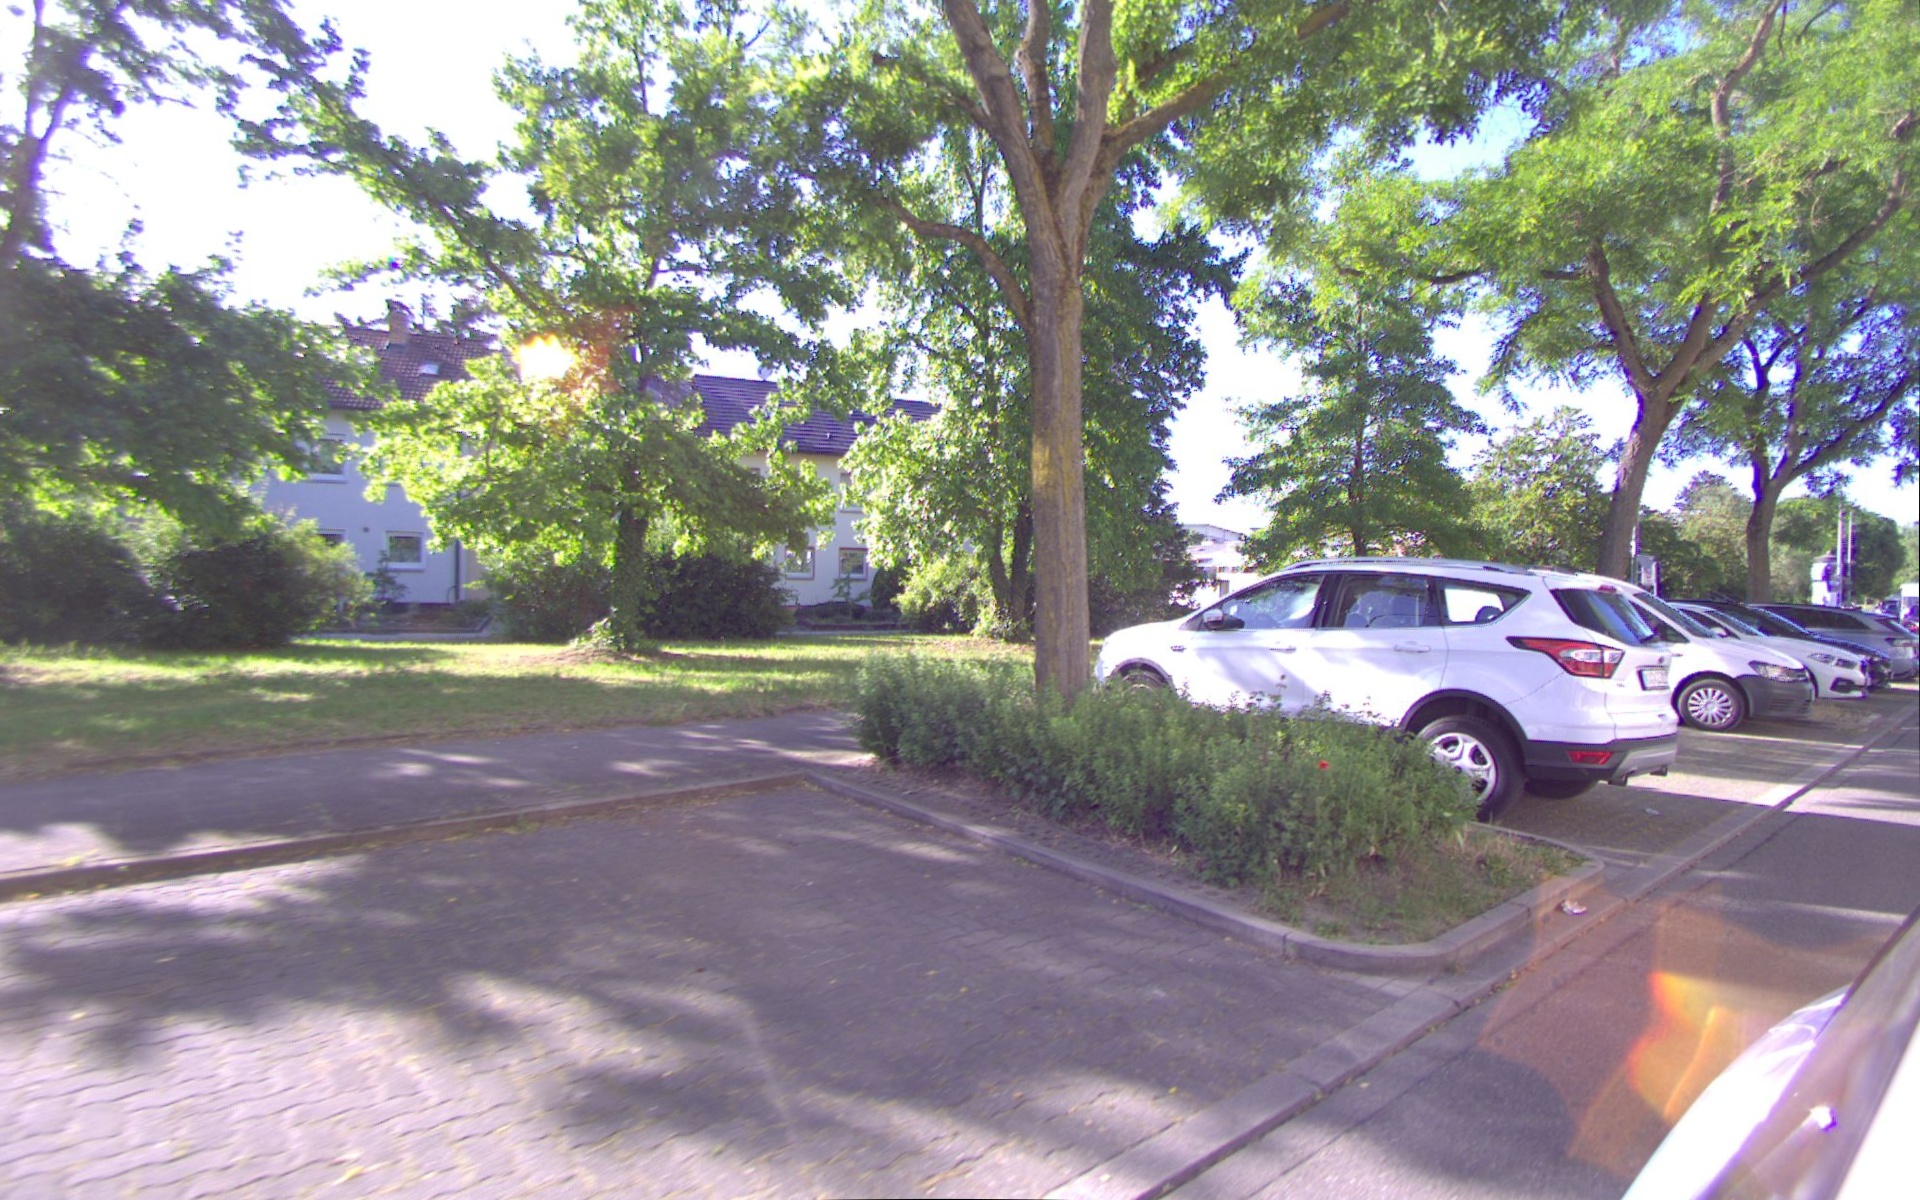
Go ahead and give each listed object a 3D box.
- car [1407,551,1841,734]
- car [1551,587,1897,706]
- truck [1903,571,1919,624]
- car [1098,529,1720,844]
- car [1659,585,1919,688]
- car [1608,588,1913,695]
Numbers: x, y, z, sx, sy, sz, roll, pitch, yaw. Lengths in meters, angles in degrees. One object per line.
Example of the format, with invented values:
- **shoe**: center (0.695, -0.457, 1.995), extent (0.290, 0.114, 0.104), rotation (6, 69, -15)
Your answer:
- **car**: center (8.446, 0.386, 13.184), extent (4.435, 1.945, 1.717), rotation (4, 2, 45)
- **car**: center (12.061, 0.624, 16.195), extent (1.716, 1.425, 4.145), rotation (0, 4, -43)
- **truck**: center (56.162, -0.093, 57.935), extent (8.132, 2.835, 2.759), rotation (0, 4, -45)
- **car**: center (3.180, 0.424, 7.853), extent (1.715, 1.786, 4.050), rotation (0, 2, -40)
- **car**: center (16.066, 0.614, 19.408), extent (1.716, 1.572, 4.049), rotation (0, 4, -42)
- **car**: center (14.061, 0.629, 17.940), extent (1.716, 1.679, 4.046), rotation (0, 0, -43)
